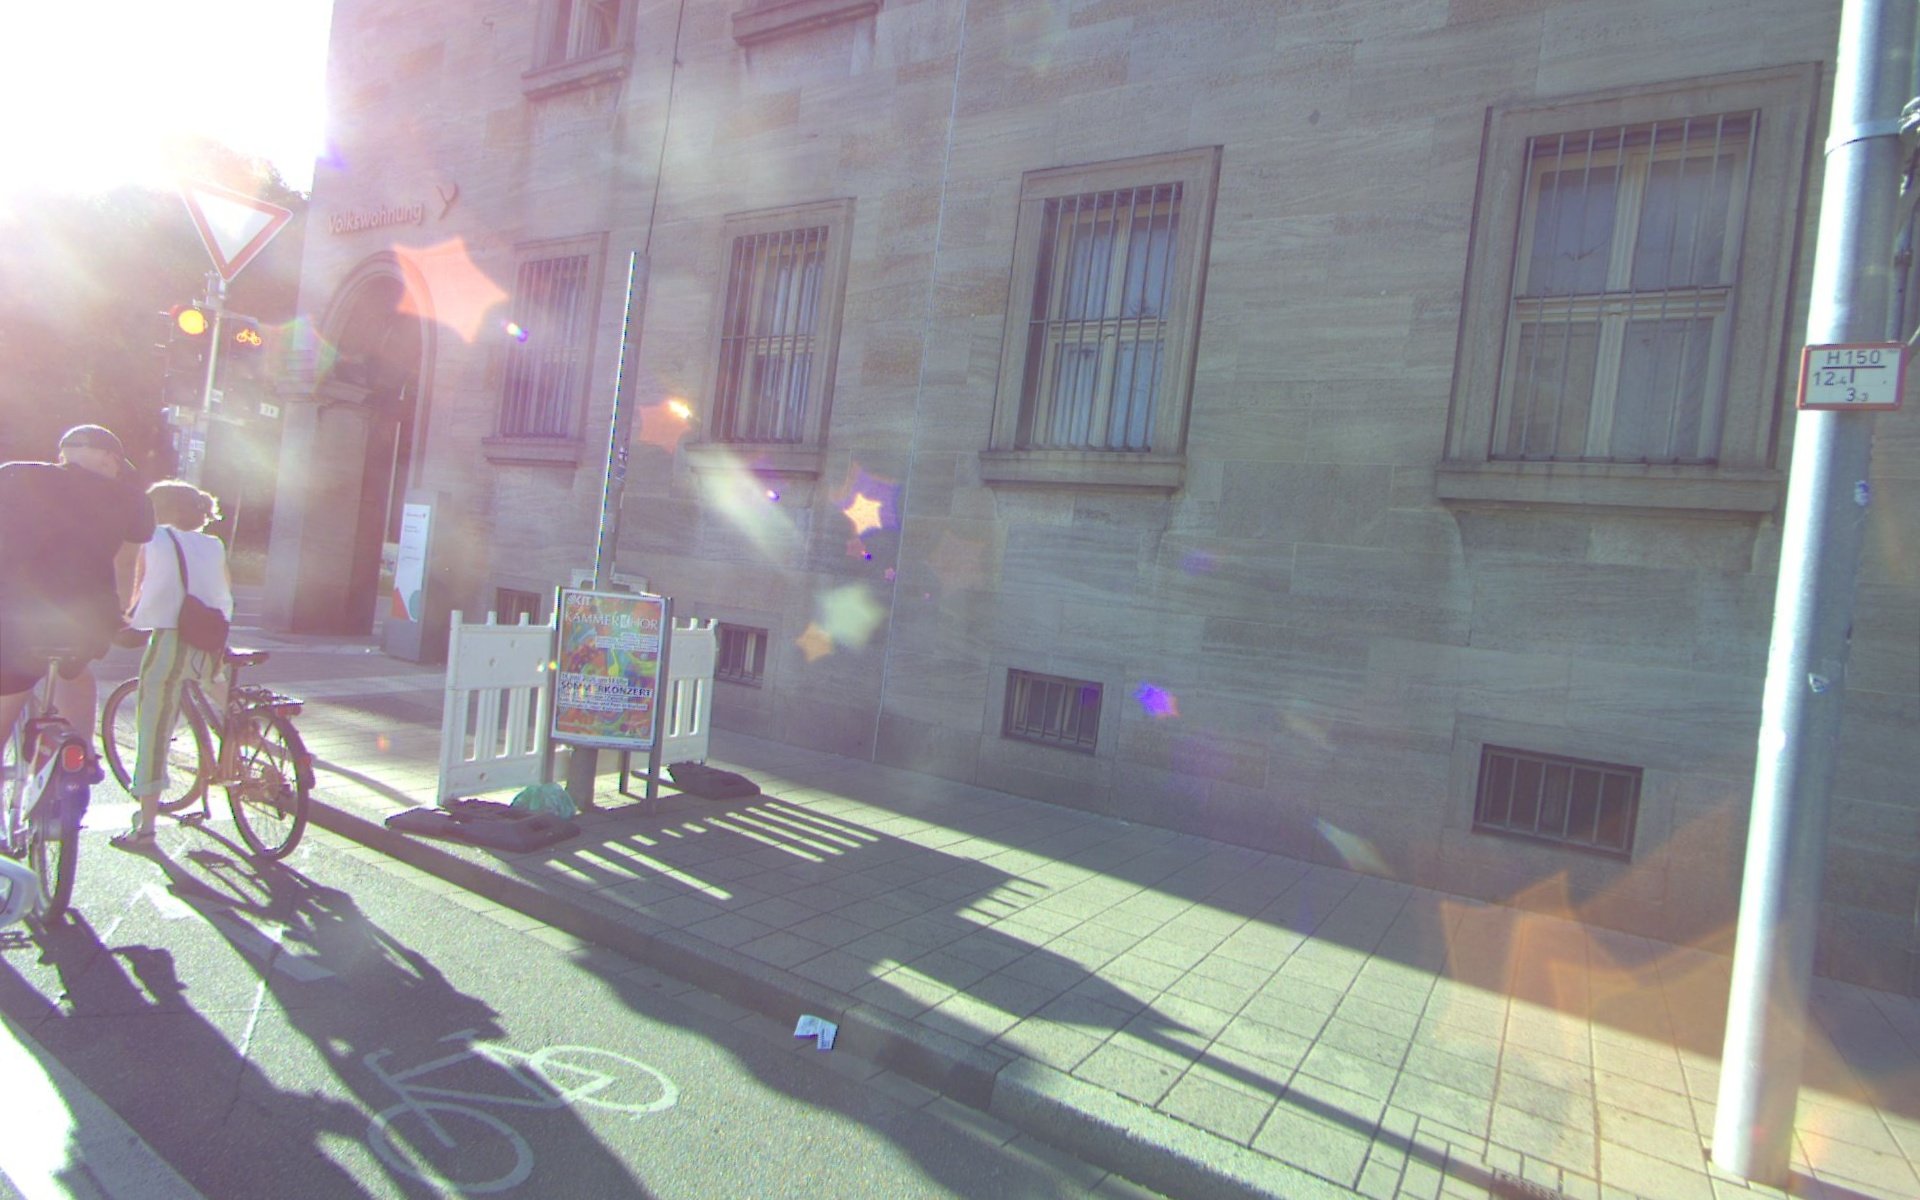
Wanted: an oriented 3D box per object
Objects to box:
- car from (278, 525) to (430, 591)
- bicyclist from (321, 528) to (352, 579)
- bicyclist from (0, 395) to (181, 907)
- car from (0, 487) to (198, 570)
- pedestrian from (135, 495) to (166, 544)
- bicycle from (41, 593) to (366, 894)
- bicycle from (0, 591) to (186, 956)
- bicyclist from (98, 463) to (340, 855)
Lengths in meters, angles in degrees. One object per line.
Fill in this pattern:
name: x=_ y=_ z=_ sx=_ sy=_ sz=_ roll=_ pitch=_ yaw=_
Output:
car: x=-19.826 y=-1.346 z=33.056 sx=1.623 sy=1.630 sz=3.854 roll=7 pitch=-1 yaw=31
bicyclist: x=-21.923 y=-1.625 z=35.394 sx=0.499 sy=1.704 sz=0.643 roll=7 pitch=0 yaw=37
bicyclist: x=-3.544 y=0.190 z=3.857 sx=0.541 sy=1.820 sz=0.559 roll=7 pitch=-1 yaw=33
car: x=-23.368 y=-1.895 z=27.199 sx=1.623 sy=1.630 sz=3.999 roll=7 pitch=-1 yaw=31
pedestrian: x=-29.649 y=-2.934 z=36.828 sx=0.506 sy=1.683 sz=0.583 roll=8 pitch=0 yaw=34
bicycle: x=-3.677 y=0.618 z=4.845 sx=1.721 sy=1.090 sz=0.535 roll=7 pitch=-1 yaw=31
bicycle: x=-3.733 y=0.571 z=3.927 sx=1.700 sy=1.090 sz=0.516 roll=7 pitch=-1 yaw=34
bicyclist: x=-3.531 y=0.263 z=4.806 sx=0.629 sy=1.711 sz=0.558 roll=7 pitch=-1 yaw=30
